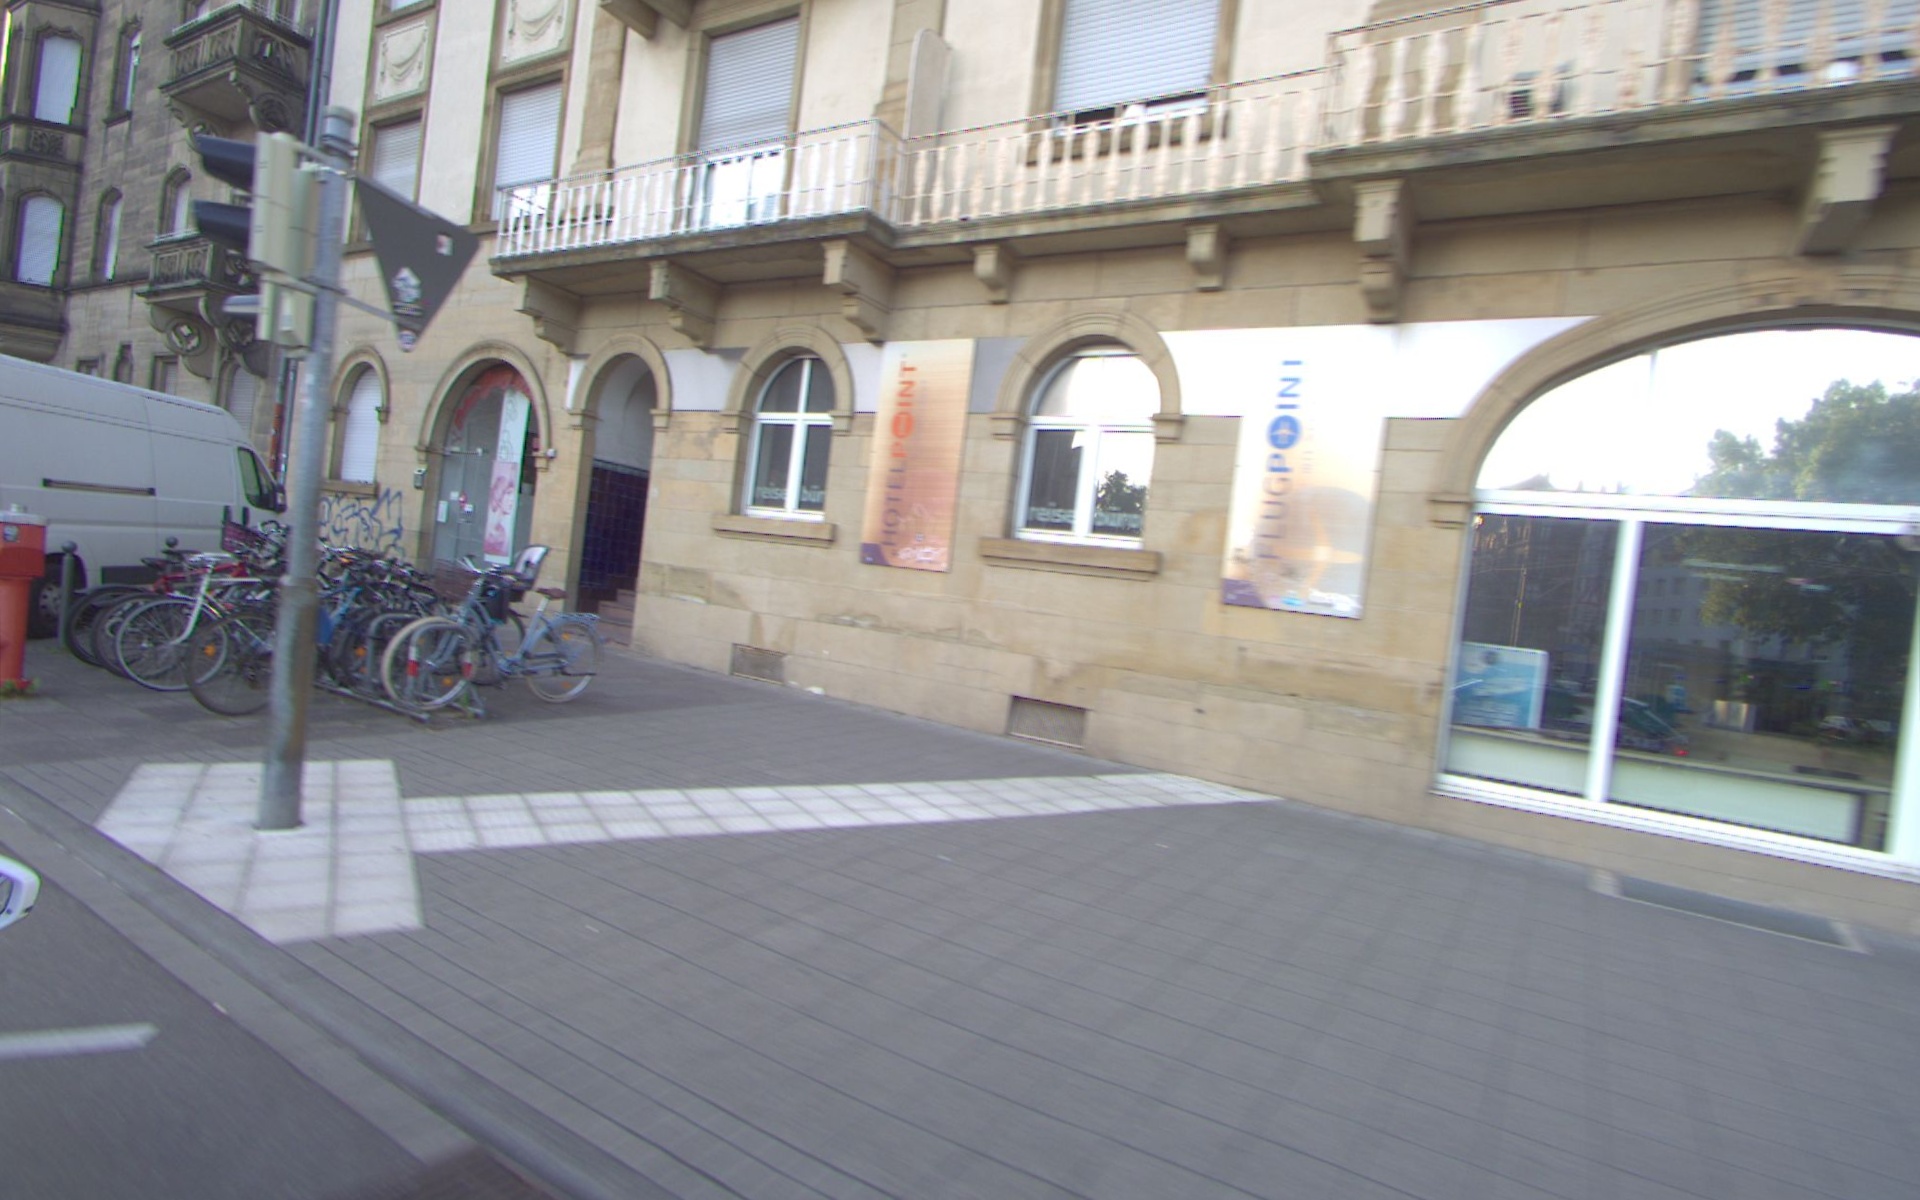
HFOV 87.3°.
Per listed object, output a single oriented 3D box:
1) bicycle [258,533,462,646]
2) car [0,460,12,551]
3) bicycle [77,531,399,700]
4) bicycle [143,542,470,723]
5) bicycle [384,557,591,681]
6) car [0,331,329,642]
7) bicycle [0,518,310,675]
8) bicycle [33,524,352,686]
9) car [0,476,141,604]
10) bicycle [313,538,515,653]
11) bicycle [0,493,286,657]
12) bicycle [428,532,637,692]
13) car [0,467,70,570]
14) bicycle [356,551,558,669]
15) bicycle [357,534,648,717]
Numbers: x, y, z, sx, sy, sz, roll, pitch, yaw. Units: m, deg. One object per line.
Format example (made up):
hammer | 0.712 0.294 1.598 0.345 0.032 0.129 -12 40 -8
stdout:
bicycle | -6.169 -0.099 10.452 0.532 1.023 1.774 8 3 27
car | -17.082 -1.617 15.459 1.687 1.565 3.907 5 2 -8
bicycle | -5.481 0.103 7.806 0.532 1.102 1.998 7 3 23
bicycle | -4.667 0.203 7.376 0.532 1.102 1.998 7 3 23
bicycle | -4.440 0.170 9.588 0.532 1.023 1.774 8 3 27
car | -9.434 -1.104 10.805 2.157 2.585 5.873 5 1 -8
bicycle | -6.562 -0.028 8.314 0.532 1.102 1.998 7 3 23
bicycle | -6.046 0.032 8.084 0.532 1.102 1.998 7 3 23
car | -12.073 -0.796 11.617 1.964 1.472 4.248 6 1 -6
bicycle | -5.497 -0.041 10.252 0.532 1.023 1.774 8 3 27
bicycle | -7.002 -0.199 8.637 0.532 1.221 1.998 7 3 23
bicycle | -3.874 0.103 9.274 0.532 1.291 1.774 8 3 27
car | -14.545 -1.212 13.581 1.842 1.466 3.908 5 2 -7
bicycle | -4.926 0.091 9.978 0.532 1.023 1.774 8 3 27
bicycle | -3.509 0.192 7.916 0.635 1.217 1.995 8 3 32
